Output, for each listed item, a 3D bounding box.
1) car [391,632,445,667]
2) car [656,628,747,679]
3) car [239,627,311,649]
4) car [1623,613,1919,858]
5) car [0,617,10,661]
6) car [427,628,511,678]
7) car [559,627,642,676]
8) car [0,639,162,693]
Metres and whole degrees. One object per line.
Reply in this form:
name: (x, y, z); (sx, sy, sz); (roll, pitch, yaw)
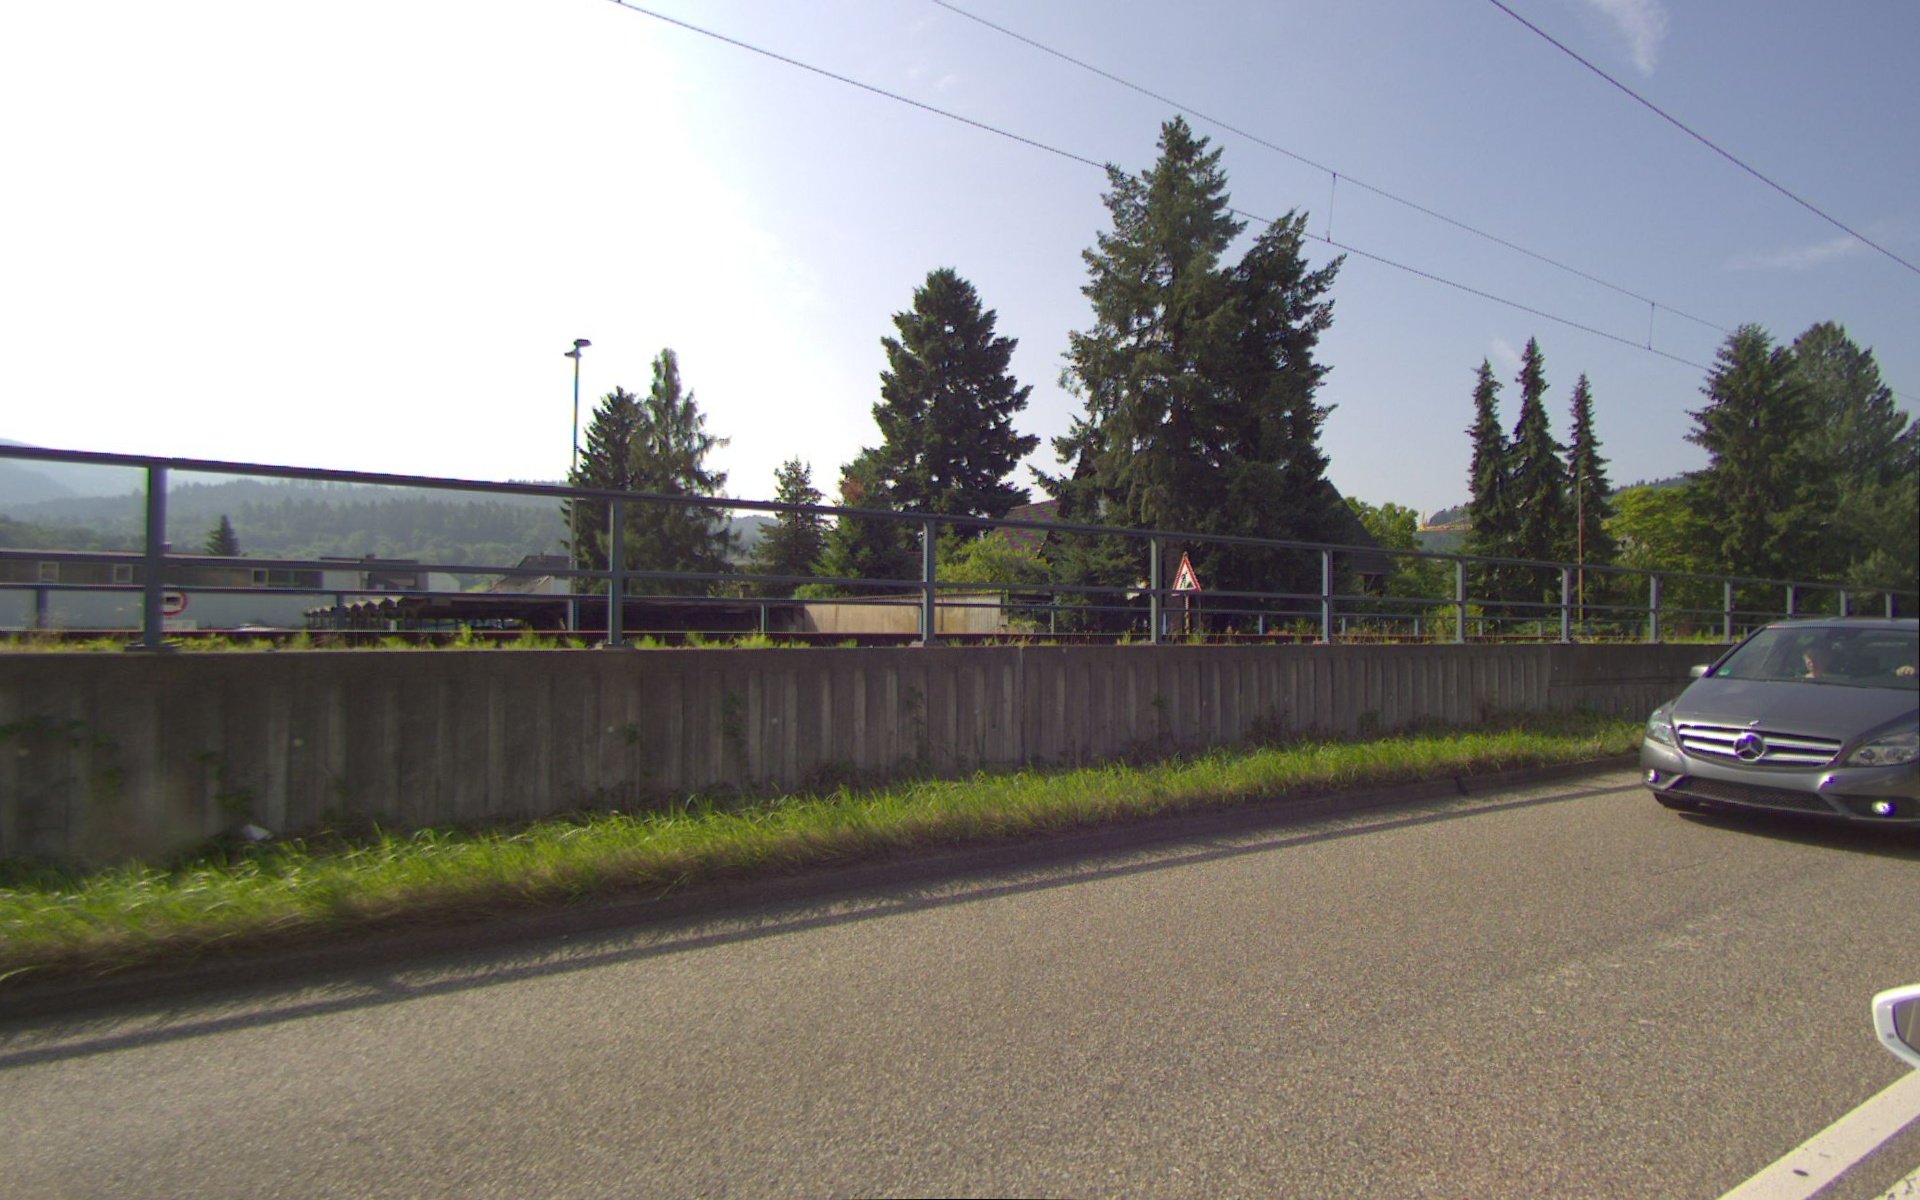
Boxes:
car: (-28.277, 2.537, 52.379); (1.802, 1.687, 3.956); (1, -1, -38)
car: (-9.521, 1.911, 36.821); (1.802, 1.687, 3.956); (1, -1, -38)
car: (-43.347, 2.427, 63.595); (1.429, 1.342, 3.535); (-1, -2, 24)
car: (7.315, 0.907, 8.108); (4.153, 1.527, 1.732); (1, -1, -32)
car: (-39.326, 1.536, 39.875); (1.983, 1.743, 3.955); (1, -2, -39)
car: (-16.959, 1.785, 34.608); (1.802, 1.557, 3.956); (1, -1, -38)
car: (-13.631, 1.896, 37.973); (1.802, 1.687, 3.956); (1, -1, -38)
car: (-22.800, 1.687, 25.889); (3.465, 1.342, 1.458); (0, -2, 6)
